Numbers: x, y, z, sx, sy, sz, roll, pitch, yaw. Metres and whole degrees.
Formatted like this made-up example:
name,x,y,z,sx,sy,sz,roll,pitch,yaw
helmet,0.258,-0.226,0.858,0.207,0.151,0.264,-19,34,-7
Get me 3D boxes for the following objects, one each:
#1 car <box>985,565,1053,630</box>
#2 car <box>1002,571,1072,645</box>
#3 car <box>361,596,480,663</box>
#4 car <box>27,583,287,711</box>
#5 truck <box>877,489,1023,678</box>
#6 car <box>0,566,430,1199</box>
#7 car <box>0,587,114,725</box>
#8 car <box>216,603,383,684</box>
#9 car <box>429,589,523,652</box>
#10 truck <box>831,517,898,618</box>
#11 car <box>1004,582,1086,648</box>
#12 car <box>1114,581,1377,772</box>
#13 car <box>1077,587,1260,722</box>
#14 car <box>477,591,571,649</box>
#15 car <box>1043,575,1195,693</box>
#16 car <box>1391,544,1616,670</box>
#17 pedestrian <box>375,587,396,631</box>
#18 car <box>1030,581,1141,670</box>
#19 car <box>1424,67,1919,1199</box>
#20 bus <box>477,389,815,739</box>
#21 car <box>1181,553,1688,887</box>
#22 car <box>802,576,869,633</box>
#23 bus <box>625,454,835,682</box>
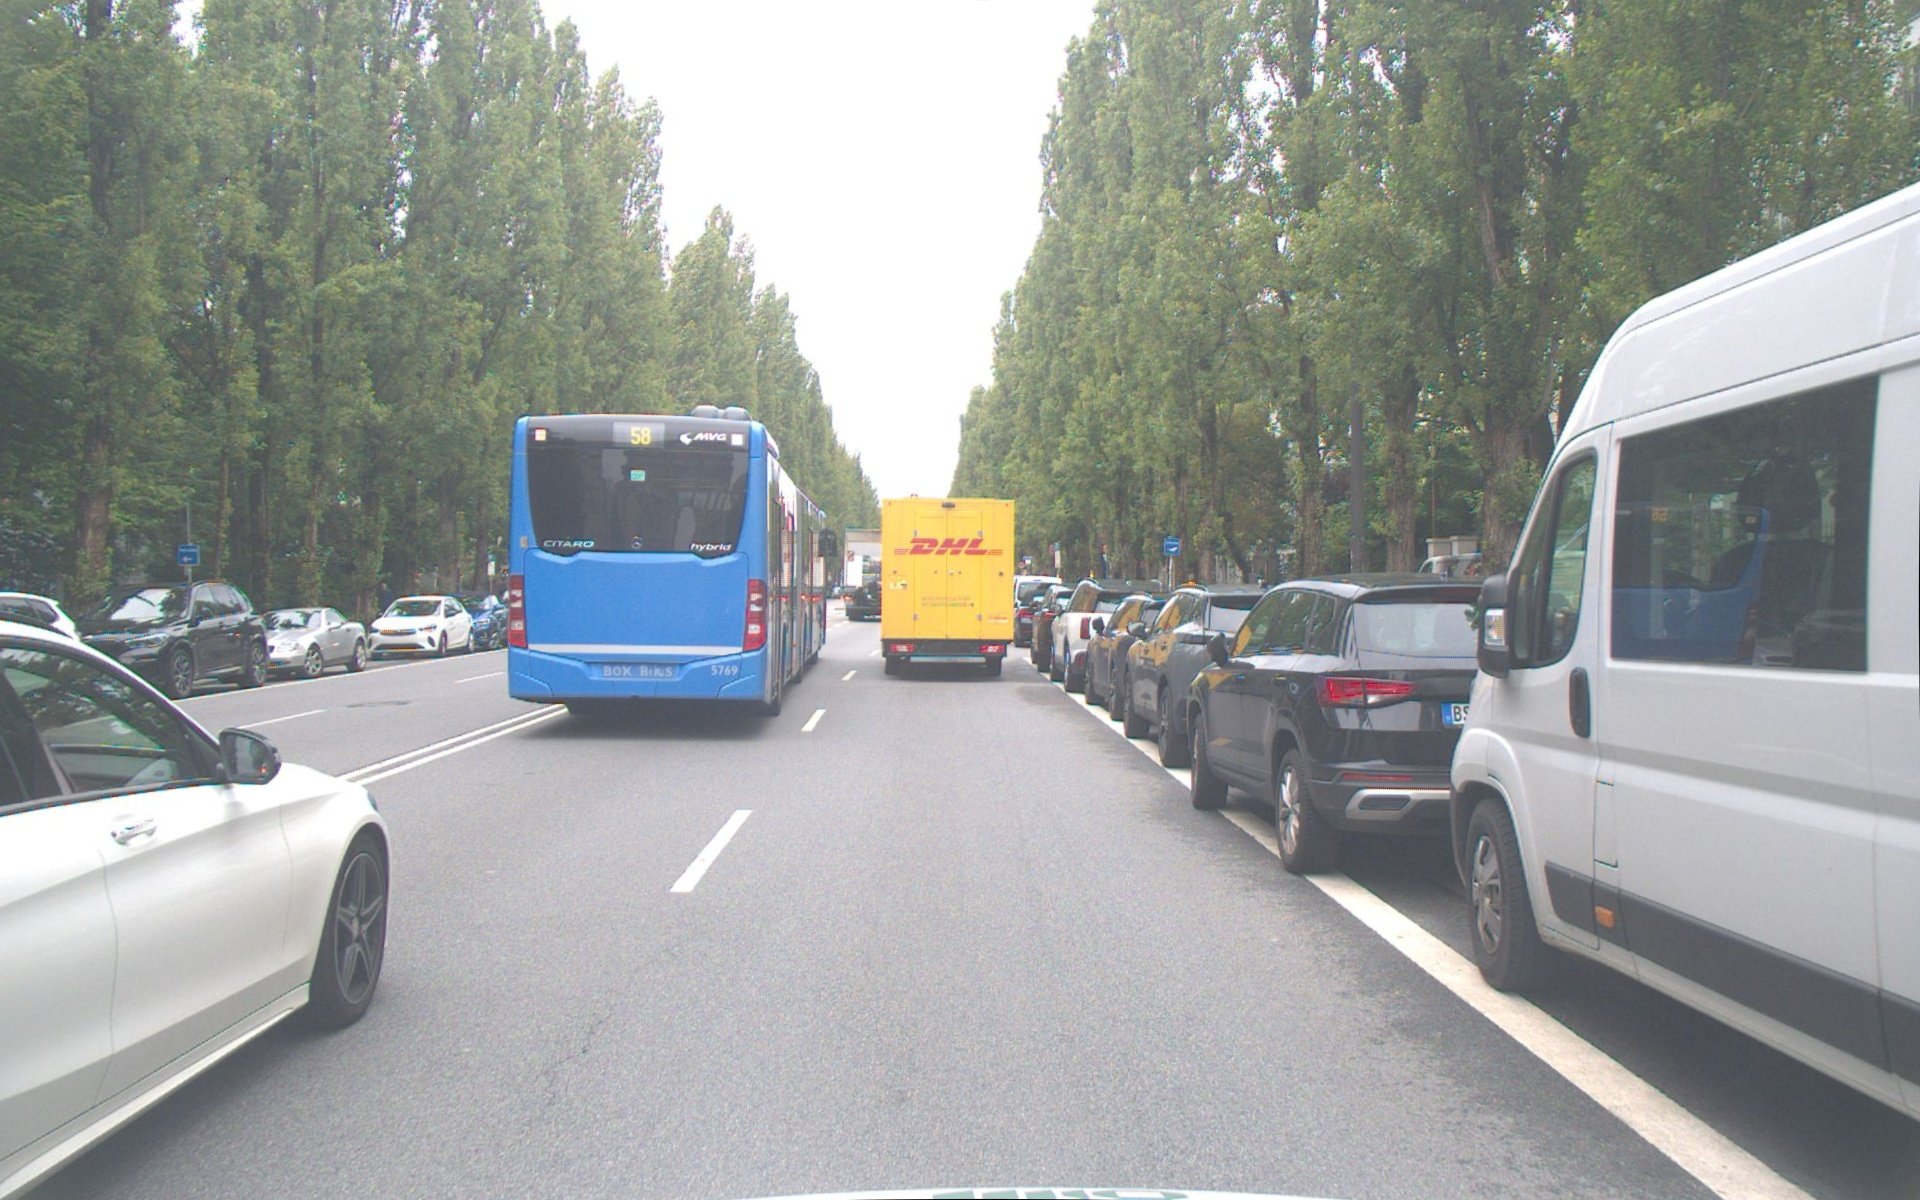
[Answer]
name,x,y,z,sx,sy,sz,roll,pitch,yaw
car,1.929,-0.113,55.684,2.011,2.049,5.691,-1,1,-1
car,2.159,0.203,47.391,1.769,2.011,4.236,0,0,-1
car,-12.980,0.674,40.012,1.651,1.437,4.003,-2,0,-2
car,-12.297,0.638,25.719,1.842,1.687,4.716,-3,1,-3
truck,-0.275,-0.295,29.601,2.280,2.949,7.330,0,0,-2
car,-2.794,0.661,3.721,1.788,1.480,4.581,1,0,-1
car,-12.291,0.714,20.042,1.749,1.616,4.461,-3,1,-1
car,-12.462,0.773,31.470,1.548,1.327,4.028,-2,1,-1
car,-12.995,0.523,44.584,1.710,1.545,4.112,-2,0,-7
truck,-4.109,-1.348,71.121,2.662,4.034,9.212,-1,1,-3
car,2.108,0.348,41.875,1.825,1.579,4.000,0,0,-1
car,2.510,0.604,15.453,1.618,1.529,4.112,1,0,-2
car,2.489,0.598,20.658,1.600,1.471,4.147,2,0,-2
car,-13.142,0.555,50.066,1.755,1.575,4.336,-3,0,-2
car,2.327,0.458,25.153,1.745,1.609,4.145,2,0,-2
car,9.159,0.090,28.431,1.953,1.959,5.322,0,0,-2
pedestrian,-23.022,0.356,66.283,0.587,1.769,0.640,-1,0,-1
car,2.259,0.425,30.758,1.690,1.521,4.323,0,0,-1
car,3.099,0.100,3.976,2.032,2.522,6.282,1,1,-2
bus,-3.337,-0.385,20.058,2.799,3.269,9.055,0,1,-3
car,2.598,0.570,10.156,1.784,1.618,4.222,0,0,-2
car,-4.171,0.129,56.071,1.994,1.833,4.506,-1,1,-1
bus,-3.771,-0.522,29.351,2.814,3.361,9.784,0,0,-3
